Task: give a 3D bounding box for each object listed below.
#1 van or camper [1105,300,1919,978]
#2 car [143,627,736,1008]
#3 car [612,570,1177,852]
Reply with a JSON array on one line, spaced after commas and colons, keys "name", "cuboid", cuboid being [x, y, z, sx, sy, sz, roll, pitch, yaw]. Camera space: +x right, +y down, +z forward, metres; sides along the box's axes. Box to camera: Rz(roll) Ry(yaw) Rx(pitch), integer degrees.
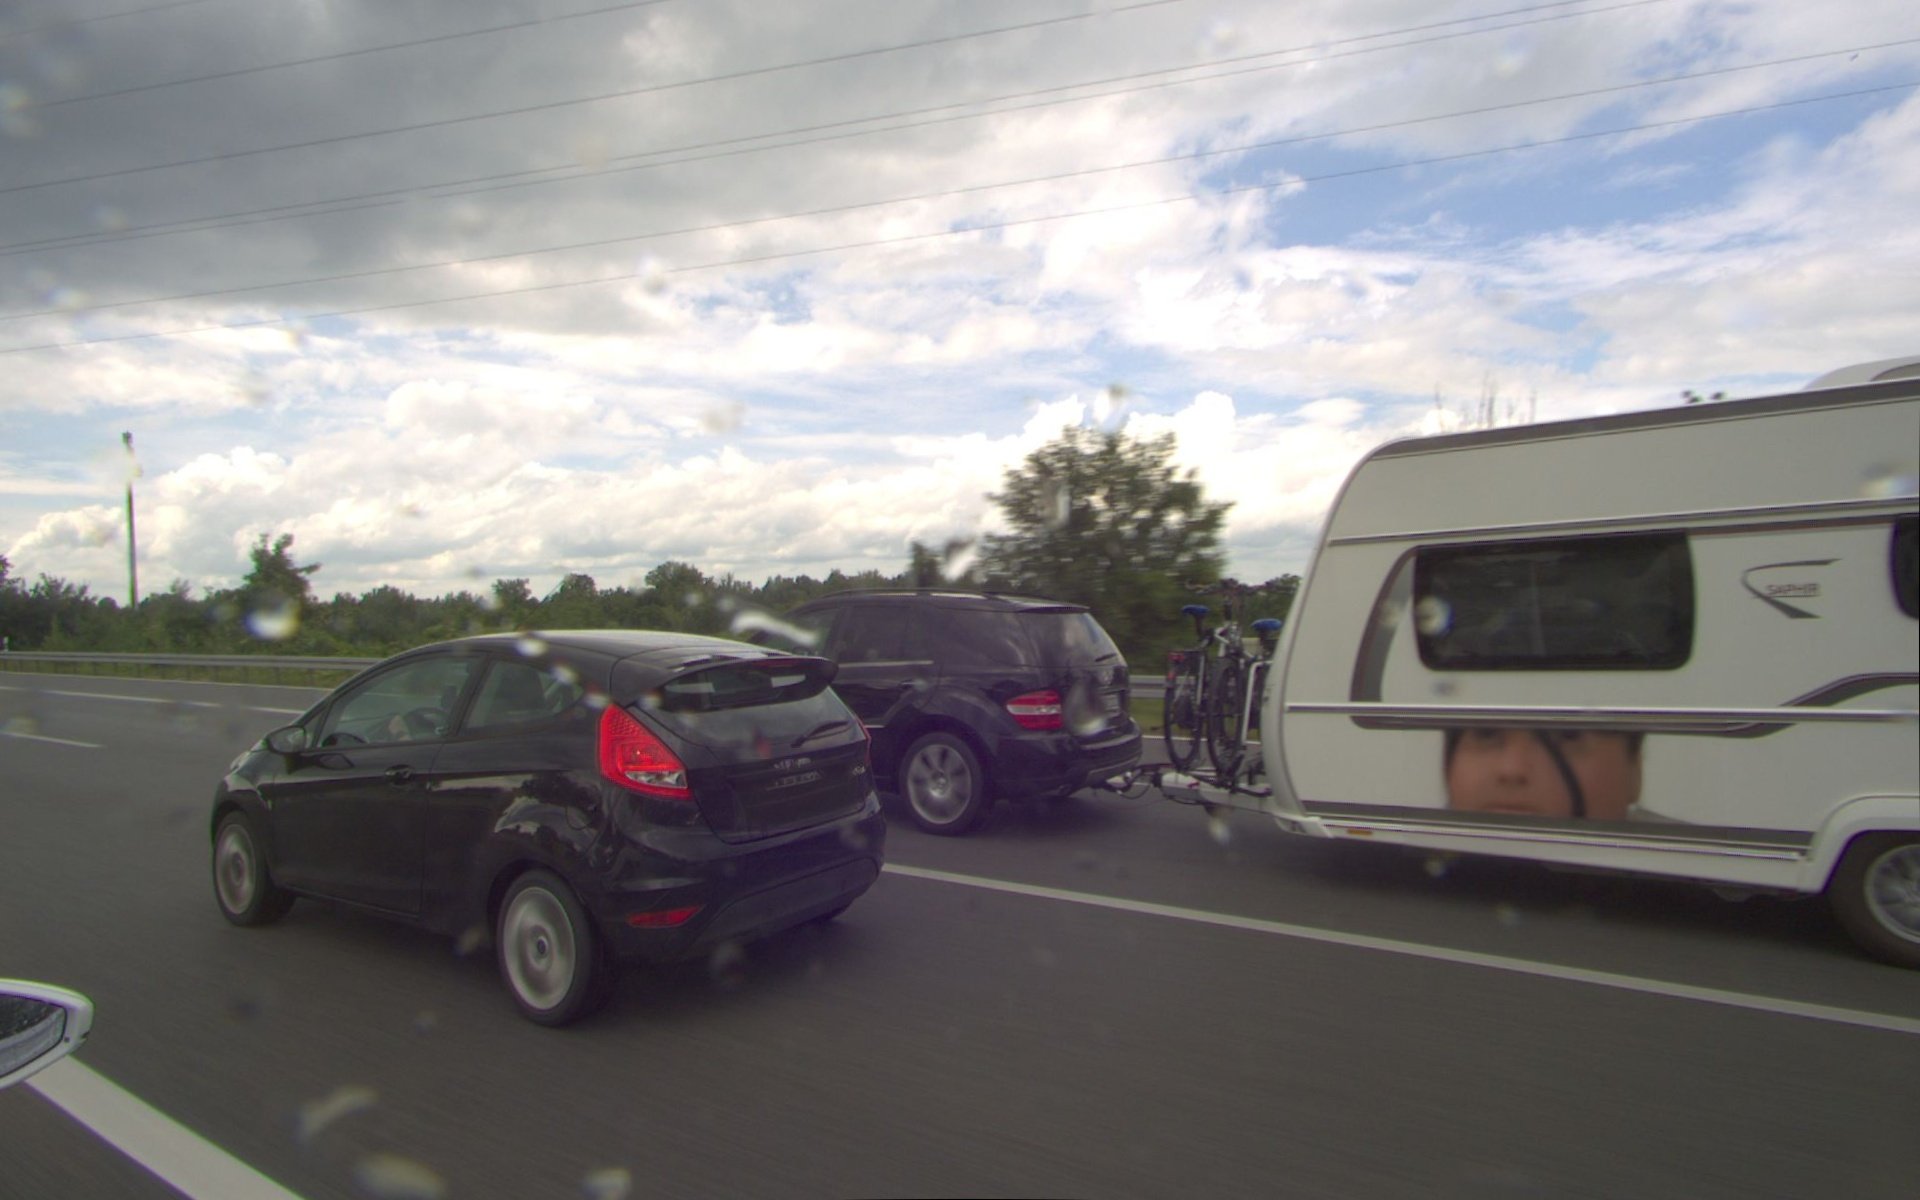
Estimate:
[{"name": "van or camper", "cuboid": [4.502, 0.191, 5.144, 7.105, 2.773, 2.381, -1, -2, 32]}, {"name": "car", "cuboid": [-2.831, 0.881, 5.319, 3.119, 1.460, 1.444, -1, -1, 32]}, {"name": "car", "cuboid": [-0.648, 0.773, 8.367, 4.437, 1.799, 1.917, -1, -1, 31]}]
